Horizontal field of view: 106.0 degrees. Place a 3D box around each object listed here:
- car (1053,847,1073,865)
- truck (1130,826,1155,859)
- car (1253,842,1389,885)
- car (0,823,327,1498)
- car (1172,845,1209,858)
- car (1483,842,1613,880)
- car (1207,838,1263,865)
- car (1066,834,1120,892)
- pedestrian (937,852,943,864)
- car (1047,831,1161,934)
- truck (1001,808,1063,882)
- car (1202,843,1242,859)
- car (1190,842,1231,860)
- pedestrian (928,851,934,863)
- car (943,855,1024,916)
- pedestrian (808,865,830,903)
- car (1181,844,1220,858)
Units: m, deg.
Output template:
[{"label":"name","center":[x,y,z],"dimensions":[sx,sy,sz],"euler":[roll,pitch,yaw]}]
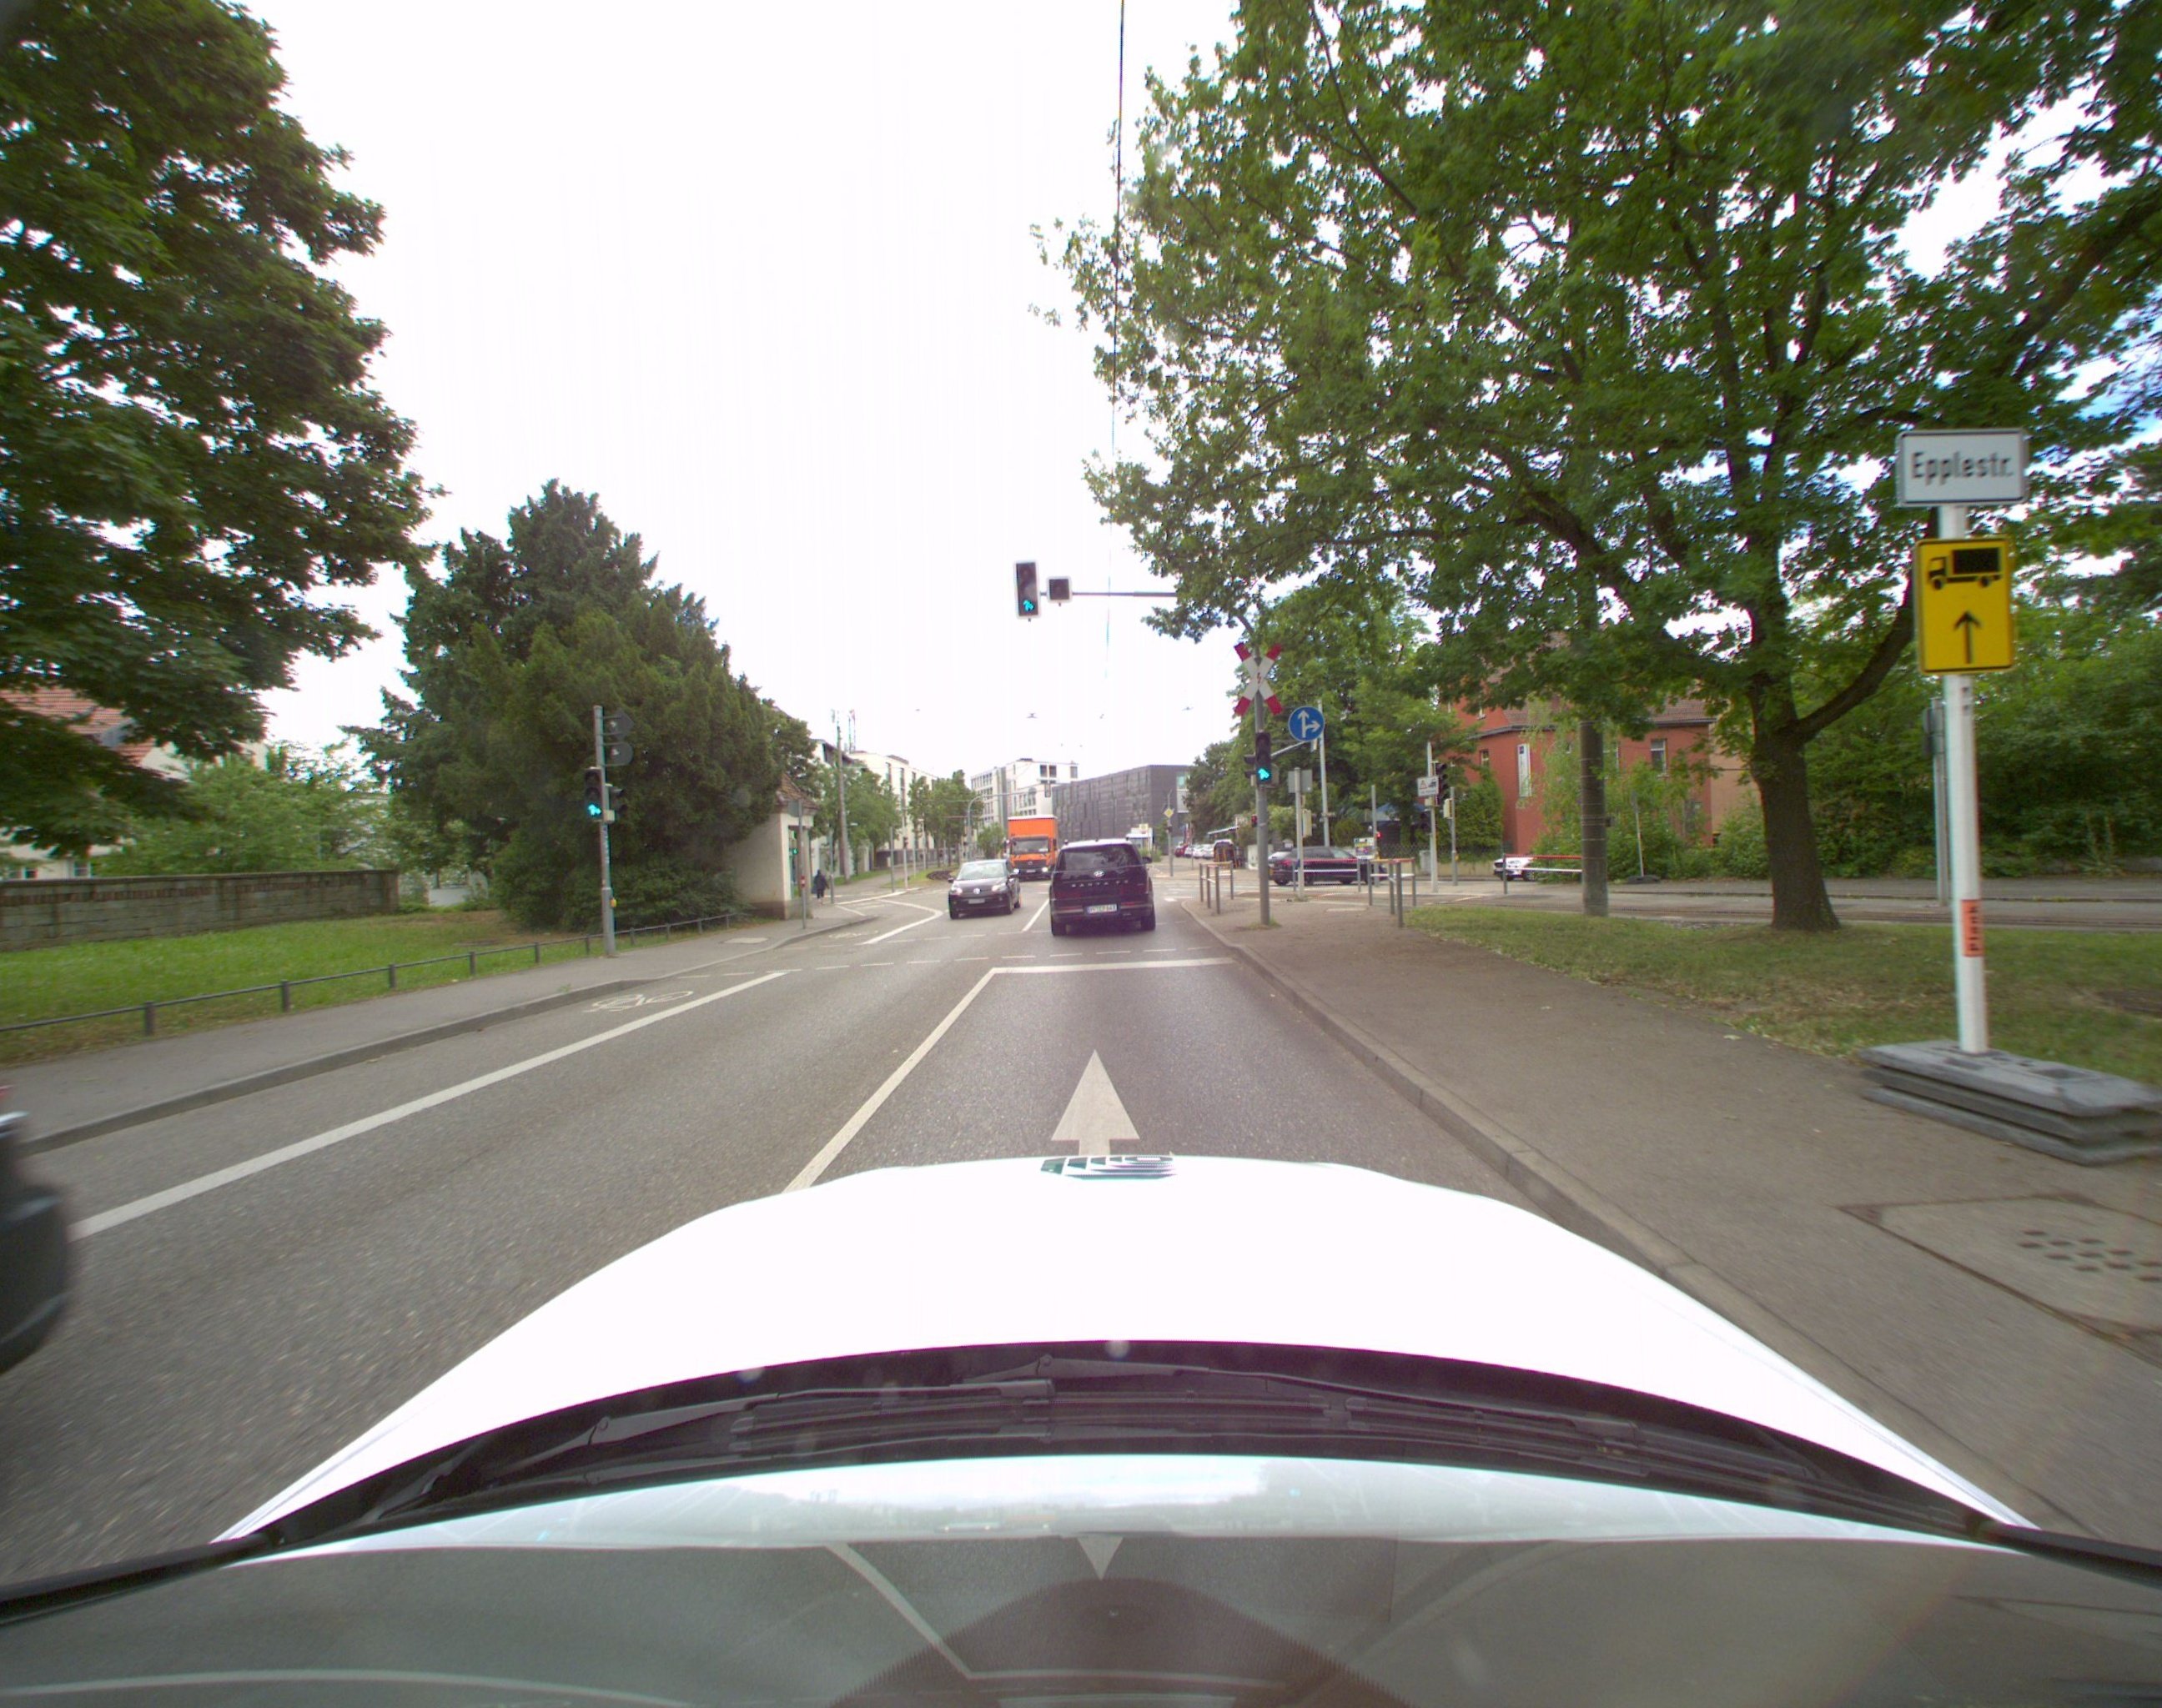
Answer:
[{"label":"car","center":[-1.788,0.206,81.625],"dimensions":[1.781,1.661,4.278],"euler":[-3,0,1]},{"label":"truck","center":[6.972,-1.287,92.722],"dimensions":[2.562,3.525,7.817],"euler":[-2,0,3]},{"label":"car","center":[8.969,0.332,30.549],"dimensions":[4.513,1.463,1.989],"euler":[-1,0,-16]},{"label":"car","center":[-3.504,0.770,0.361],"dimensions":[1.932,1.531,4.528],"euler":[-4,0,2]},{"label":"car","center":[12.367,-0.274,91.852],"dimensions":[3.808,1.474,1.784],"euler":[0,-1,-24]},{"label":"car","center":[19.607,0.295,34.289],"dimensions":[4.503,1.463,1.994],"euler":[-1,0,-9]},{"label":"car","center":[11.025,-0.200,58.045],"dimensions":[1.827,1.748,4.726],"euler":[-2,1,39]},{"label":"car","center":[0.395,0.301,31.944],"dimensions":[1.850,2.033,4.434],"euler":[-2,1,-2]},{"label":"pedestrian","center":[-20.134,0.631,116.296],"dimensions":[0.611,1.694,0.785],"euler":[-1,-1,1]},{"label":"car","center":[0.367,0.467,15.837],"dimensions":[1.909,1.725,4.169],"euler":[0,0,-1]},{"label":"truck","center":[-2.695,-0.488,47.139],"dimensions":[2.760,3.718,8.468],"euler":[-5,0,0]},{"label":"car","center":[13.079,-0.298,75.501],"dimensions":[3.527,1.378,1.533],"euler":[-3,2,-30]},{"label":"car","center":[12.810,-0.293,80.411],"dimensions":[3.658,1.435,1.578],"euler":[-4,-1,-26]},{"label":"pedestrian","center":[-21.513,0.438,116.932],"dimensions":[0.611,1.694,0.785],"euler":[-1,-1,1]},{"label":"car","center":[-2.608,0.799,22.546],"dimensions":[1.658,1.449,3.828],"euler":[-2,0,1]},{"label":"pedestrian","center":[-11.891,1.342,37.016],"dimensions":[0.673,1.644,0.818],"euler":[-4,2,-4]},{"label":"car","center":[12.733,-0.294,86.444],"dimensions":[3.814,1.474,1.781],"euler":[0,-1,-29]}]
